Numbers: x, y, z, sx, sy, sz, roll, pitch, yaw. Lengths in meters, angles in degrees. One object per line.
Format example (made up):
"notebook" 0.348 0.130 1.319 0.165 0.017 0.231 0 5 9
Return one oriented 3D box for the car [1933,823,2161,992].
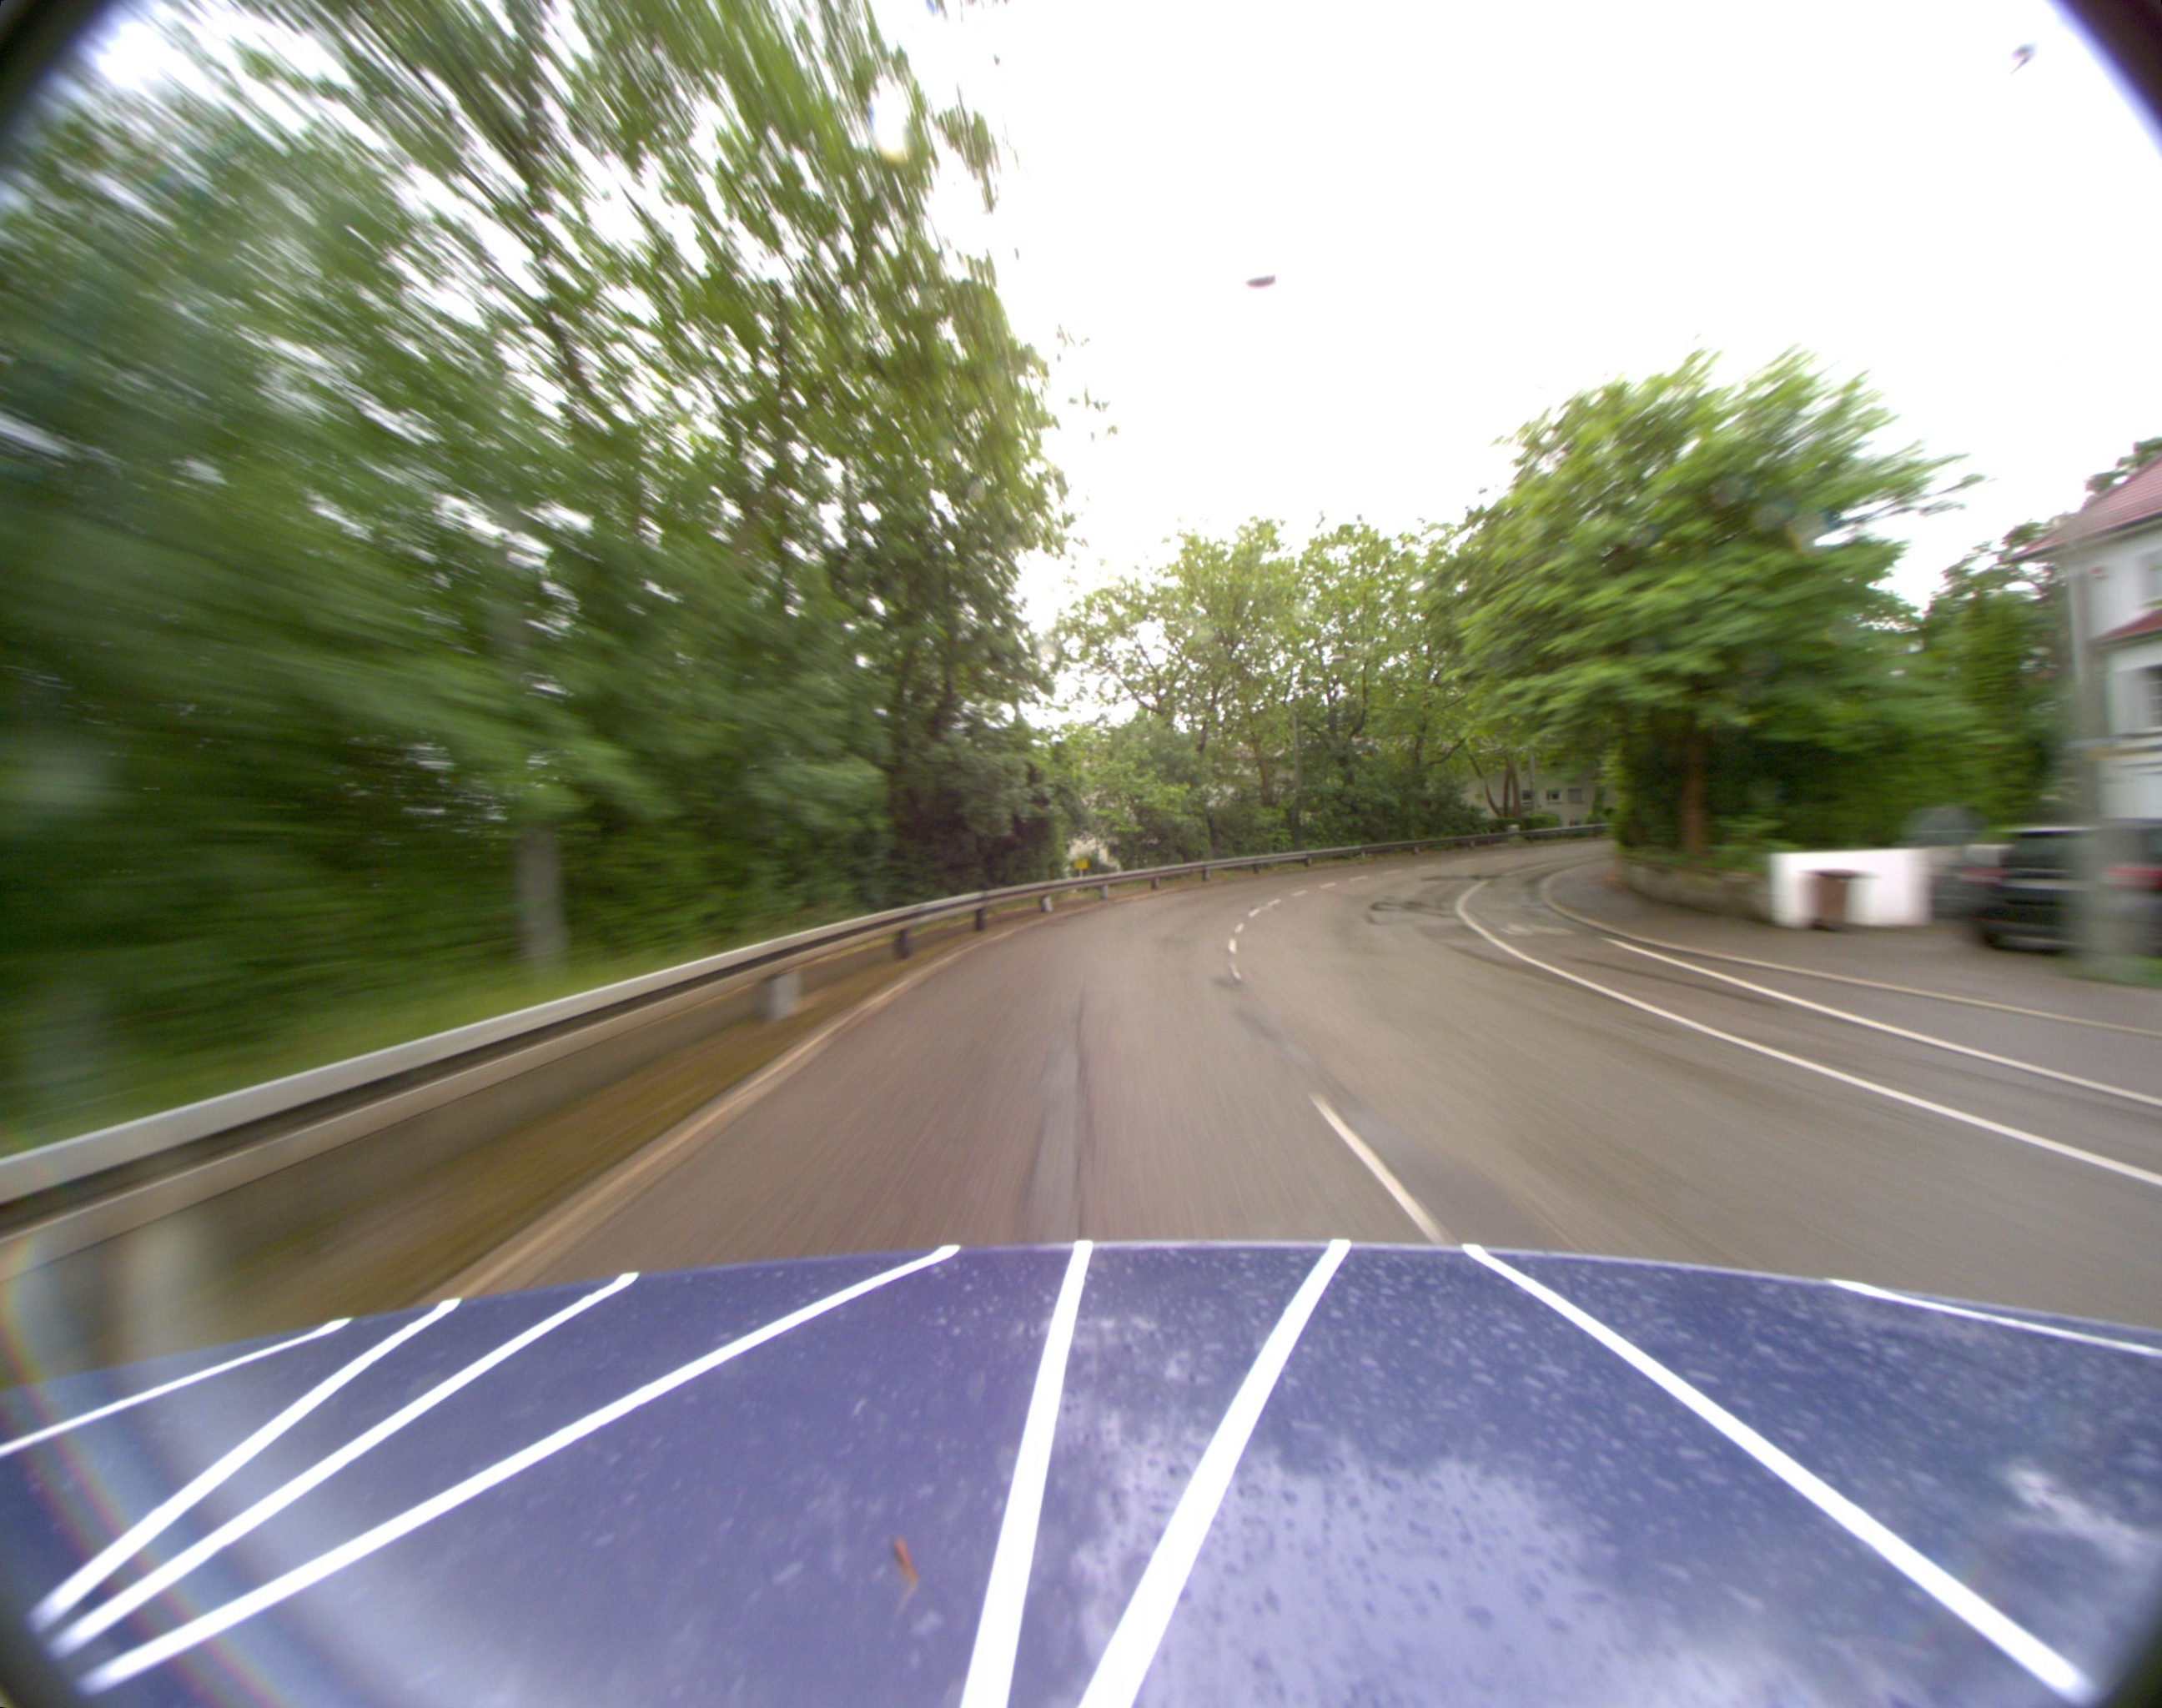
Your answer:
"car" 12.588 0.508 8.872 3.346 1.511 1.822 -6 1 -5
